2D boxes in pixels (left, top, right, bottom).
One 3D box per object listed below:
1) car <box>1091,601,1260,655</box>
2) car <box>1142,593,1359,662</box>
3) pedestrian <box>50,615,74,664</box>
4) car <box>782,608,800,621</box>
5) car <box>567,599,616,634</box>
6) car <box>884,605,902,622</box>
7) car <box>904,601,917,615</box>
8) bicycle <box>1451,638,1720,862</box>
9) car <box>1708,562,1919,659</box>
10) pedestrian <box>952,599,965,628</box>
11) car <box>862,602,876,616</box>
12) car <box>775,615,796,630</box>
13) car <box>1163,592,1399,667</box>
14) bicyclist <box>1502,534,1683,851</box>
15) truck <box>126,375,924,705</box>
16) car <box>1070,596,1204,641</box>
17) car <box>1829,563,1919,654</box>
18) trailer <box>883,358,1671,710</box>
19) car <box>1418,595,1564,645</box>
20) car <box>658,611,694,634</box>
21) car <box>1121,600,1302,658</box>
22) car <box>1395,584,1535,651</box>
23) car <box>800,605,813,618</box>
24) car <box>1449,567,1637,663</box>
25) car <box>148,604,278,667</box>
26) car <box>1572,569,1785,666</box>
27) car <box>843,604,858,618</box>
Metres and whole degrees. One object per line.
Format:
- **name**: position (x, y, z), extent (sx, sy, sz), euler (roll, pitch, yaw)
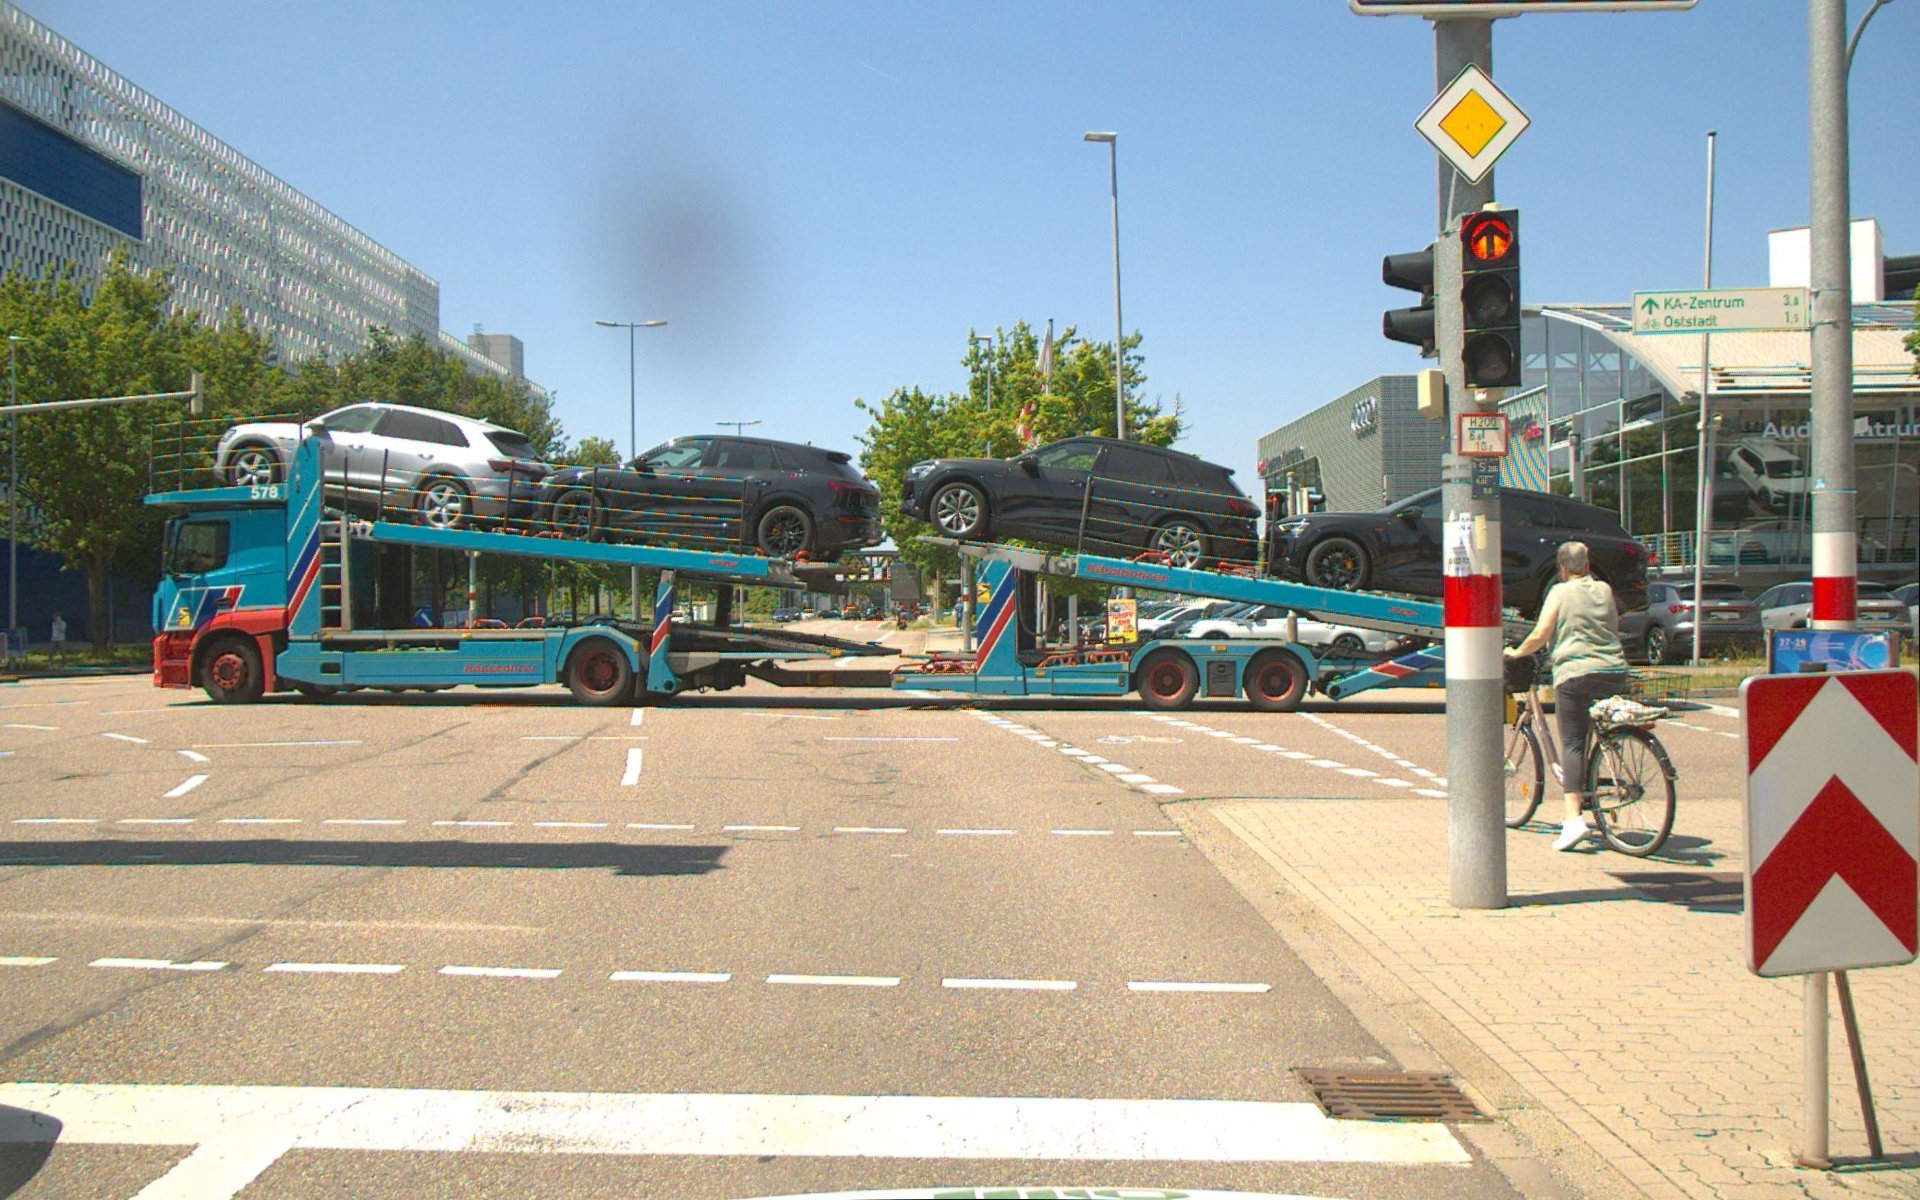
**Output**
- **car**: position (6.274, 0.805, 48.589), extent (4.647, 1.482, 1.999), euler (-1, 0, -3)
- **car**: position (6.619, 0.628, 38.019), extent (4.644, 1.482, 2.000), euler (-1, -1, 1)
- **pedestrian**: position (-28.218, 1.245, 51.955), extent (0.452, 1.508, 0.484), euler (-1, -1, 3)
- **car**: position (-19.057, 1.603, 186.753), extent (1.650, 1.436, 3.664), euler (-1, -1, -1)
- **car**: position (-22.568, 1.000, 101.477), extent (1.952, 2.049, 4.001), euler (-1, 0, 2)
- **car**: position (-4.338, 0.866, 107.080), extent (1.114, 1.060, 2.307), euler (-1, 0, -1)
- **car**: position (-6.683, 1.065, 222.390), extent (1.736, 1.758, 3.999), euler (-1, -1, -1)
- **bicycle**: position (3.688, 0.836, 9.951), extent (0.771, 1.147, 1.919), euler (0, 0, -5)
- **car**: position (16.166, 0.159, 31.251), extent (1.953, 1.668, 4.440), euler (-1, 1, -1)
- **pedestrian**: position (-0.078, 0.722, 89.418), extent (0.654, 1.537, 0.736), euler (-1, 0, -1)
- **car**: position (-12.173, 1.209, 221.921), extent (1.736, 1.758, 3.999), euler (-1, -1, -1)
- **car**: position (-17.517, 2.268, 165.950), extent (1.697, 1.452, 3.705), euler (-3, 0, -1)
- **car**: position (6.777, 0.599, 35.268), extent (4.644, 1.482, 2.000), euler (-1, 0, 1)
- **bicyclist**: position (3.684, 0.518, 9.679), extent (0.719, 1.779, 0.753), euler (0, 0, -5)
- **truck**: position (-5.903, -0.726, 23.147), extent (10.391, 4.154, 3.103), euler (0, -1, 8)
- **car**: position (6.477, 0.657, 60.901), extent (4.647, 1.482, 1.999), euler (-2, 1, -3)
- **car**: position (18.611, 0.127, 31.308), extent (1.847, 1.668, 4.523), euler (-1, 1, -1)
- **trailer**: position (3.919, -0.747, 21.679), extent (9.407, 4.153, 3.097), euler (0, -1, 8)
- **car**: position (16.497, 0.601, 51.478), extent (4.008, 1.486, 1.719), euler (-1, 0, -1)
- **car**: position (-21.502, 1.715, 125.431), extent (1.887, 1.694, 4.089), euler (-1, -1, 1)
- **car**: position (6.899, 0.789, 45.659), extent (4.647, 1.482, 1.999), euler (-1, 0, -3)
- **car**: position (16.397, 0.559, 53.818), extent (3.905, 2.049, 2.000), euler (-1, 0, -1)
- **car**: position (-20.382, 1.476, 219.896), extent (1.616, 1.682, 4.161), euler (-1, 0, -3)
- **car**: position (10.895, 0.243, 31.233), extent (1.953, 1.668, 4.267), euler (-1, 1, -1)
- **car**: position (-25.500, 1.181, 56.660), extent (1.951, 2.043, 4.766), euler (-1, -1, 4)
- **car**: position (13.448, 0.278, 31.274), extent (1.953, 1.668, 4.556), euler (-1, 1, -1)
- **car**: position (-14.806, 1.496, 223.540), extent (1.736, 1.758, 3.999), euler (-1, -1, -1)
